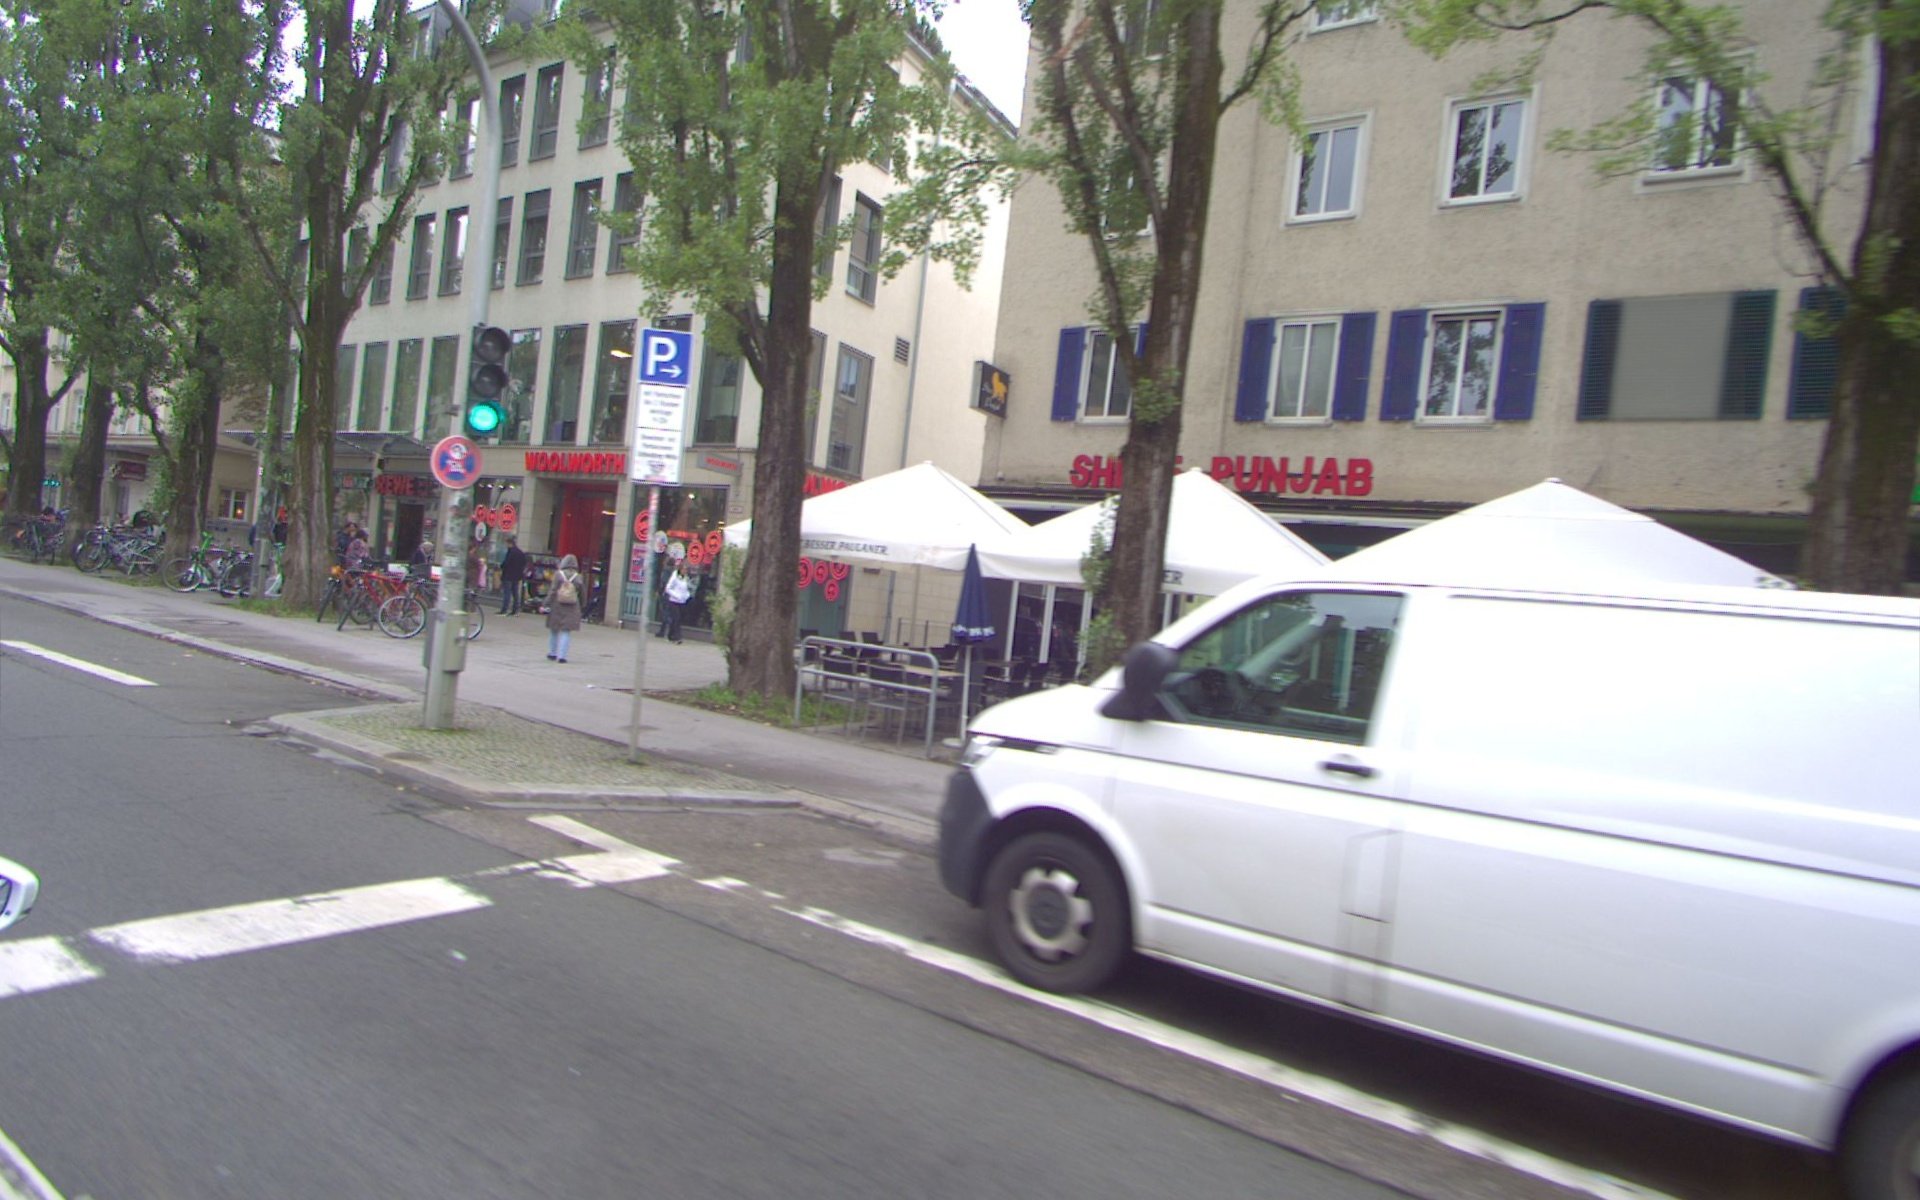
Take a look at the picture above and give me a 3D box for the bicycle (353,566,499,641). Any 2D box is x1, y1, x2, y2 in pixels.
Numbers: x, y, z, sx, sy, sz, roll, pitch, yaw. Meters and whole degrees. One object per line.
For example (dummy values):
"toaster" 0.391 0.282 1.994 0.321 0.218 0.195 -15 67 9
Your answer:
"bicycle" -8.617 0.083 16.332 0.616 1.045 1.998 7 0 30

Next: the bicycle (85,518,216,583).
"bicycle" -18.683 -1.118 23.276 0.616 1.219 2.230 7 0 30

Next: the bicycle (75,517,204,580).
"bicycle" -19.322 -1.183 23.750 0.616 1.219 2.230 7 0 30

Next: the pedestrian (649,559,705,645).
"pedestrian" -5.888 0.041 20.924 0.665 1.707 0.755 6 1 40

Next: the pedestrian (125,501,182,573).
"pedestrian" -22.410 -1.743 27.967 0.871 1.848 0.722 6 -1 22

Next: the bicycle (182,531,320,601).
"bicycle" -14.791 -0.682 21.064 0.616 1.219 2.230 7 0 30

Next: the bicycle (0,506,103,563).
"bicycle" -23.752 -1.695 26.056 0.616 1.219 2.230 7 0 30

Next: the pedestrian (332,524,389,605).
"pedestrian" -13.352 -0.786 22.412 0.745 1.707 0.674 6 1 28

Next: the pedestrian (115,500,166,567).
"pedestrian" -24.316 -1.975 29.856 0.871 1.848 0.639 6 -1 22

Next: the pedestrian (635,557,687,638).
"pedestrian" -6.591 -0.048 22.193 0.662 1.707 0.758 6 1 16

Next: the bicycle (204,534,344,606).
"bicycle" -13.892 -0.582 20.448 0.616 1.219 2.230 7 0 30

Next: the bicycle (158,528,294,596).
"bicycle" -15.707 -0.788 21.599 0.616 1.219 2.230 7 0 30

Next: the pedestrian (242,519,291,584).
"pedestrian" -21.451 -1.489 31.130 0.871 1.848 0.722 6 -1 22

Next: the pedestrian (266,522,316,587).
"pedestrian" -20.586 -1.386 30.950 0.871 1.848 0.722 6 -1 22

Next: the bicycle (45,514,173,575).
"bicycle" -20.687 -1.324 24.513 0.616 1.219 2.230 7 0 30

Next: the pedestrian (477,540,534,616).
"pedestrian" -10.815 -0.518 23.928 0.864 1.699 0.797 6 1 37

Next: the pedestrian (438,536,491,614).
"pedestrian" -11.482 -0.580 23.305 0.665 1.707 0.756 6 1 37

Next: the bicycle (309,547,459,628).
"bicycle" -10.174 -0.187 17.874 0.616 1.219 2.230 7 0 30

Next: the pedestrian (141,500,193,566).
"pedestrian" -24.088 -2.019 30.563 0.871 1.848 0.722 6 -1 22

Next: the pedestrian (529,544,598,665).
"pedestrian" -5.947 0.069 15.129 0.747 1.707 0.748 5 1 -16

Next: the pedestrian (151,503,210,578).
"pedestrian" -20.770 -1.581 26.802 0.871 1.848 0.722 6 -1 22

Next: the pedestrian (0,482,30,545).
"pedestrian" -29.453 -2.683 31.023 0.871 1.848 0.639 6 -1 22

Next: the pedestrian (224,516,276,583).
"pedestrian" -21.219 -1.504 30.072 0.871 1.848 0.722 6 -1 22

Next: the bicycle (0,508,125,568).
"bicycle" -22.598 -1.545 25.359 0.616 1.219 2.230 7 0 30

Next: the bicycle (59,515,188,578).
"bicycle" -20.010 -1.254 24.124 0.616 1.219 2.230 7 0 30

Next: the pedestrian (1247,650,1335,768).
"pedestrian" 4.152 1.350 12.616 0.787 1.340 0.639 7 1 31

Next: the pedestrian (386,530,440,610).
"pedestrian" -12.399 -0.676 22.805 0.665 1.707 0.755 6 1 40

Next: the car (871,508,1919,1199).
"car" 2.123 0.851 4.166 4.652 1.969 1.790 7 0 32

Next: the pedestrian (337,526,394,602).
"pedestrian" -15.585 -0.932 26.393 0.871 1.848 0.722 6 -1 22

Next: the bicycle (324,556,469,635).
"bicycle" -9.367 -0.046 16.805 0.616 1.147 1.998 7 0 30
